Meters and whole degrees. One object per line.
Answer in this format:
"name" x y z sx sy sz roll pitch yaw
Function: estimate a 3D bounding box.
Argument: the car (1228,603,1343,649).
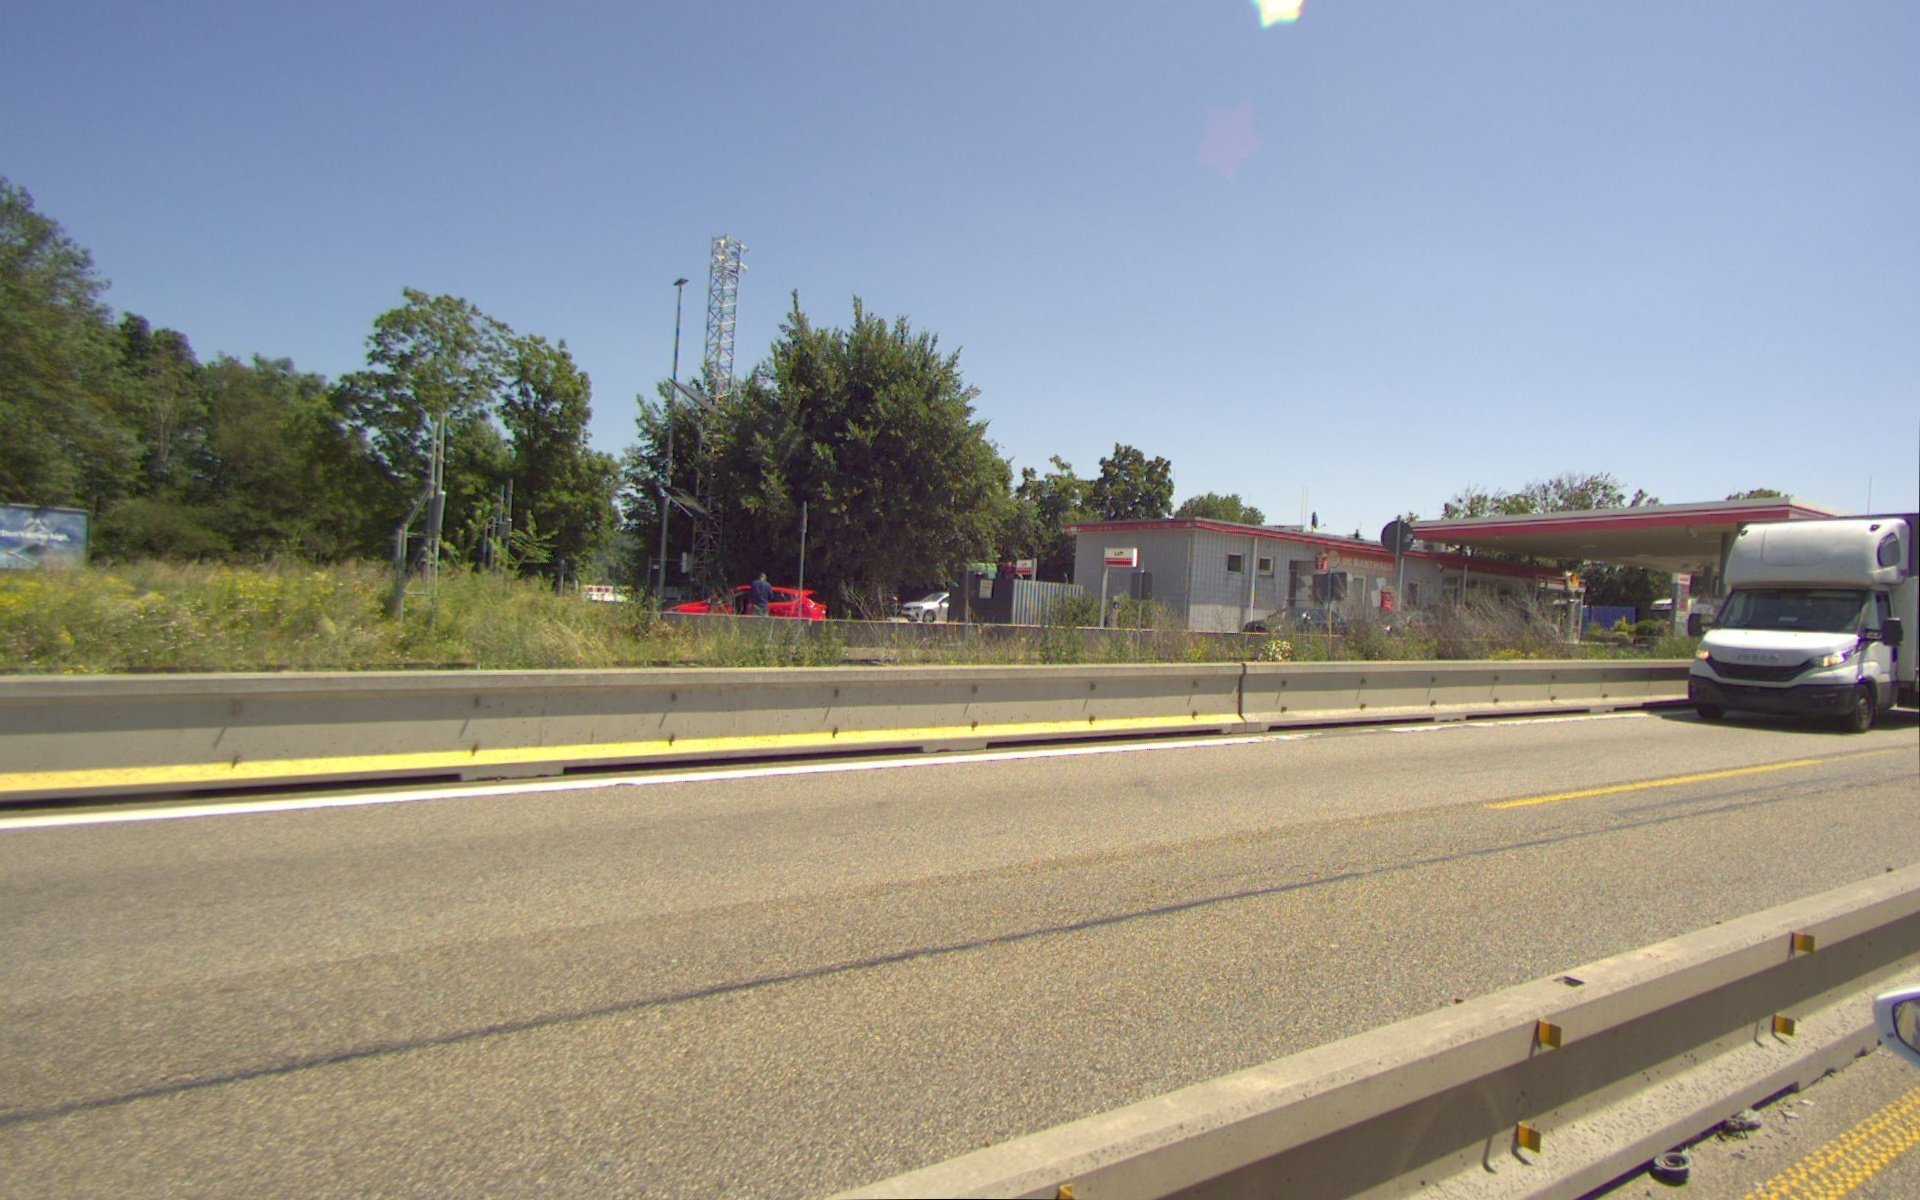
"car" 11.522 0.894 35.483 3.954 1.374 1.636 0 6 -31

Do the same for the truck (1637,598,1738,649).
"truck" 61.508 1.988 84.979 6.225 4.038 3.159 2 0 -4

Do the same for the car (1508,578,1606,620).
"car" 27.208 -0.025 45.780 4.264 1.430 1.744 2 13 -30

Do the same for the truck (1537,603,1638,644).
"truck" 52.372 1.908 83.872 6.992 3.104 2.824 2 0 -9

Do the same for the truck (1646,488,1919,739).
"truck" 14.666 0.231 16.482 8.024 3.336 2.482 1 1 -31

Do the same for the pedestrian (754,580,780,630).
"pedestrian" -4.761 0.119 24.730 0.576 1.221 0.474 1 1 -16

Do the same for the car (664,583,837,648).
"car" -5.381 0.371 26.089 4.104 1.350 1.503 3 3 -1

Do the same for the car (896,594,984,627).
"car" -0.915 0.484 46.185 3.681 1.305 1.530 1 4 -28
